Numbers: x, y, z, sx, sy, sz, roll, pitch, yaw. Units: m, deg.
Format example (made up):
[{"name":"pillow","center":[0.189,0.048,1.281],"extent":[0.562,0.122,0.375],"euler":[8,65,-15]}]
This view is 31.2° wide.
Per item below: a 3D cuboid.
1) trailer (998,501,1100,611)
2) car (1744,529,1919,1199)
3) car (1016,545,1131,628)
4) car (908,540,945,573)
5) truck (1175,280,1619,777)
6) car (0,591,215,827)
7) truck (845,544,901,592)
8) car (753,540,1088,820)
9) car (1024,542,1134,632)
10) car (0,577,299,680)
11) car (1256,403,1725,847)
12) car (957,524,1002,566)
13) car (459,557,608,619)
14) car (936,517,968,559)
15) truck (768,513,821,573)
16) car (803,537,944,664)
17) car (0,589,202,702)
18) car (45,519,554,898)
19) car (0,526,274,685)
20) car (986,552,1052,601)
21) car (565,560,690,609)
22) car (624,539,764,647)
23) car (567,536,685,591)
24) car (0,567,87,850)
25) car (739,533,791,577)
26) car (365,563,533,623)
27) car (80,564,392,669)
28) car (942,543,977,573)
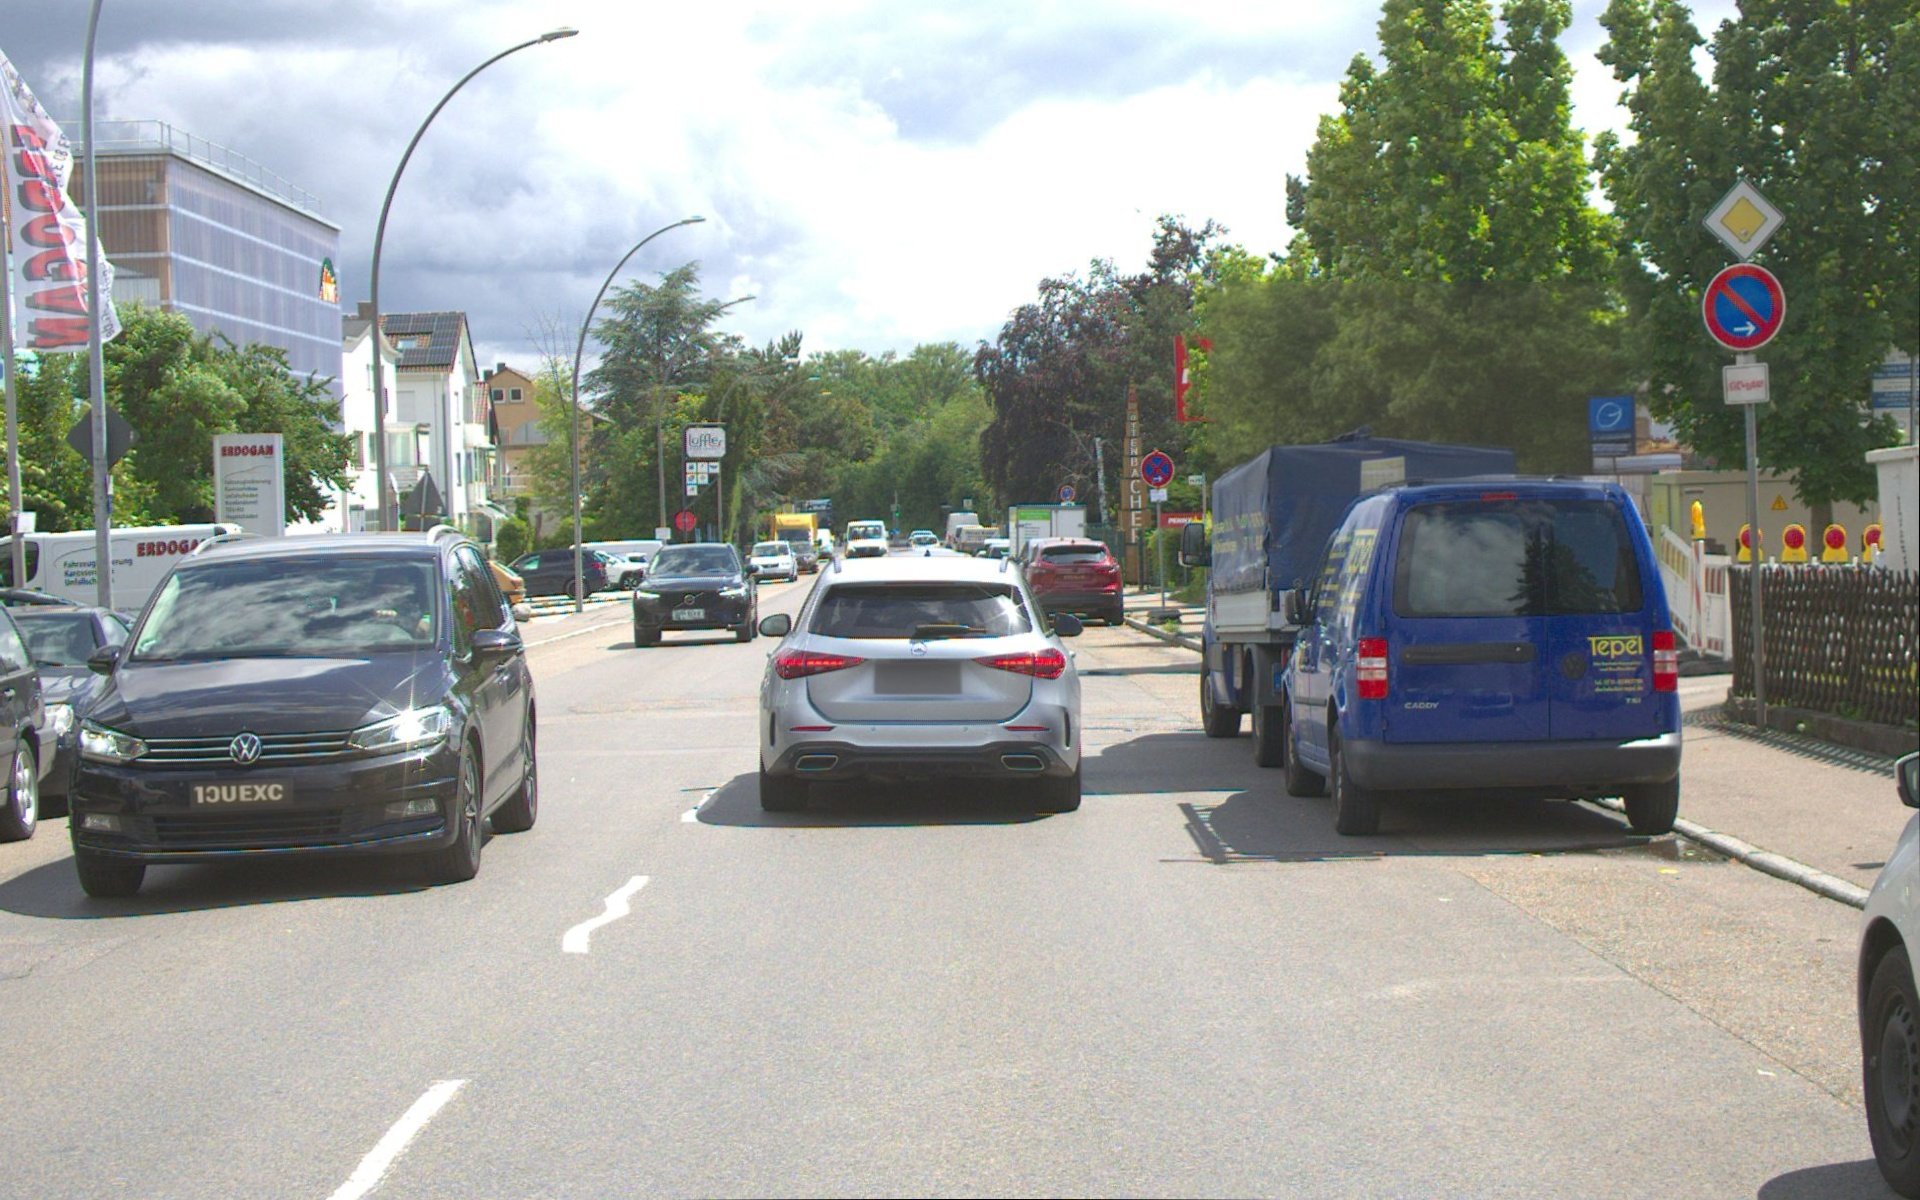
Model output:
[{"name":"trailer","center":[1.943,-0.979,76.190],"extent":[1.941,2.286,4.446],"euler":[-2,1,-2]},{"name":"car","center":[2.945,0.599,6.801],"extent":[1.773,1.503,4.000],"euler":[-2,1,-1]},{"name":"car","center":[2.260,-0.299,69.756],"extent":[1.941,1.566,4.446],"euler":[-2,1,-3]},{"name":"car","center":[-1.643,-2.155,168.990],"extent":[1.755,1.553,4.000],"euler":[-1,1,-1]},{"name":"truck","center":[2.920,-0.509,24.498],"extent":[2.320,3.086,6.043],"euler":[0,1,0]},{"name":"car","center":[-6.135,0.690,22.704],"extent":[1.630,1.299,4.117],"euler":[-5,1,-3]},{"name":"truck","center":[-4.195,-1.586,167.321],"extent":[2.319,2.171,6.449],"euler":[-2,1,1]},{"name":"car","center":[-0.300,0.389,20.554],"extent":[1.784,1.479,4.317],"euler":[0,1,-2]},{"name":"car","center":[2.221,-0.270,64.825],"extent":[1.941,1.566,4.446],"euler":[-2,1,1]},{"name":"car","center":[-11.400,0.390,47.975],"extent":[3.986,1.310,1.872],"euler":[-2,0,-2]},{"name":"car","center":[2.792,0.079,19.073],"extent":[1.873,2.161,4.464],"euler":[0,1,0]},{"name":"car","center":[0.942,-2.735,170.716],"extent":[2.144,1.977,5.261],"euler":[-2,1,0]},{"name":"car","center":[-13.903,-0.405,112.295],"extent":[4.626,1.627,2.198],"euler":[-5,2,-4]},{"name":"car","center":[-0.483,-3.756,208.079],"extent":[1.784,2.510,4.317],"euler":[0,0,-2]},{"name":"truck","center":[-8.108,-2.825,169.225],"extent":[2.075,2.804,7.078],"euler":[-2,1,1]},{"name":"car","center":[-1.135,-0.036,45.323],"extent":[1.755,1.553,4.000],"euler":[-1,1,-1]},{"name":"car","center":[-10.900,0.499,39.528],"extent":[3.986,1.200,1.872],"euler":[1,1,-2]},{"name":"car","center":[-3.122,0.418,17.088],"extent":[1.743,1.622,4.356],"euler":[-1,1,-1]},{"name":"car","center":[-11.556,0.064,45.293],"extent":[4.650,1.965,2.116],"euler":[-2,1,-4]},{"name":"car","center":[1.905,-0.786,111.900],"extent":[1.791,1.445,4.364],"euler":[-2,1,-3]},{"name":"car","center":[-12.050,-0.557,124.788],"extent":[4.279,1.561,1.991],"euler":[-2,-2,0]},{"name":"car","center":[-4.352,-0.145,56.826],"extent":[1.993,1.610,4.411],"euler":[-3,1,-1]},{"name":"car","center":[-12.634,-1.372,130.134],"extent":[4.279,1.830,1.991],"euler":[-2,-2,-1]},{"name":"car","center":[-5.970,0.656,17.823],"extent":[1.743,1.467,4.645],"euler":[-5,1,-2]},{"name":"car","center":[-7.677,-1.790,135.472],"extent":[1.792,1.598,4.364],"euler":[-2,1,-1]},{"name":"car","center":[-13.224,-0.187,89.166],"extent":[4.149,1.486,1.826],"euler":[1,1,-4]},{"name":"car","center":[-11.108,0.254,52.960],"extent":[4.374,1.473,1.871],"euler":[-2,0,0]},{"name":"car","center":[-0.024,-2.392,196.154],"extent":[1.784,1.709,4.317],"euler":[0,0,-2]}]
